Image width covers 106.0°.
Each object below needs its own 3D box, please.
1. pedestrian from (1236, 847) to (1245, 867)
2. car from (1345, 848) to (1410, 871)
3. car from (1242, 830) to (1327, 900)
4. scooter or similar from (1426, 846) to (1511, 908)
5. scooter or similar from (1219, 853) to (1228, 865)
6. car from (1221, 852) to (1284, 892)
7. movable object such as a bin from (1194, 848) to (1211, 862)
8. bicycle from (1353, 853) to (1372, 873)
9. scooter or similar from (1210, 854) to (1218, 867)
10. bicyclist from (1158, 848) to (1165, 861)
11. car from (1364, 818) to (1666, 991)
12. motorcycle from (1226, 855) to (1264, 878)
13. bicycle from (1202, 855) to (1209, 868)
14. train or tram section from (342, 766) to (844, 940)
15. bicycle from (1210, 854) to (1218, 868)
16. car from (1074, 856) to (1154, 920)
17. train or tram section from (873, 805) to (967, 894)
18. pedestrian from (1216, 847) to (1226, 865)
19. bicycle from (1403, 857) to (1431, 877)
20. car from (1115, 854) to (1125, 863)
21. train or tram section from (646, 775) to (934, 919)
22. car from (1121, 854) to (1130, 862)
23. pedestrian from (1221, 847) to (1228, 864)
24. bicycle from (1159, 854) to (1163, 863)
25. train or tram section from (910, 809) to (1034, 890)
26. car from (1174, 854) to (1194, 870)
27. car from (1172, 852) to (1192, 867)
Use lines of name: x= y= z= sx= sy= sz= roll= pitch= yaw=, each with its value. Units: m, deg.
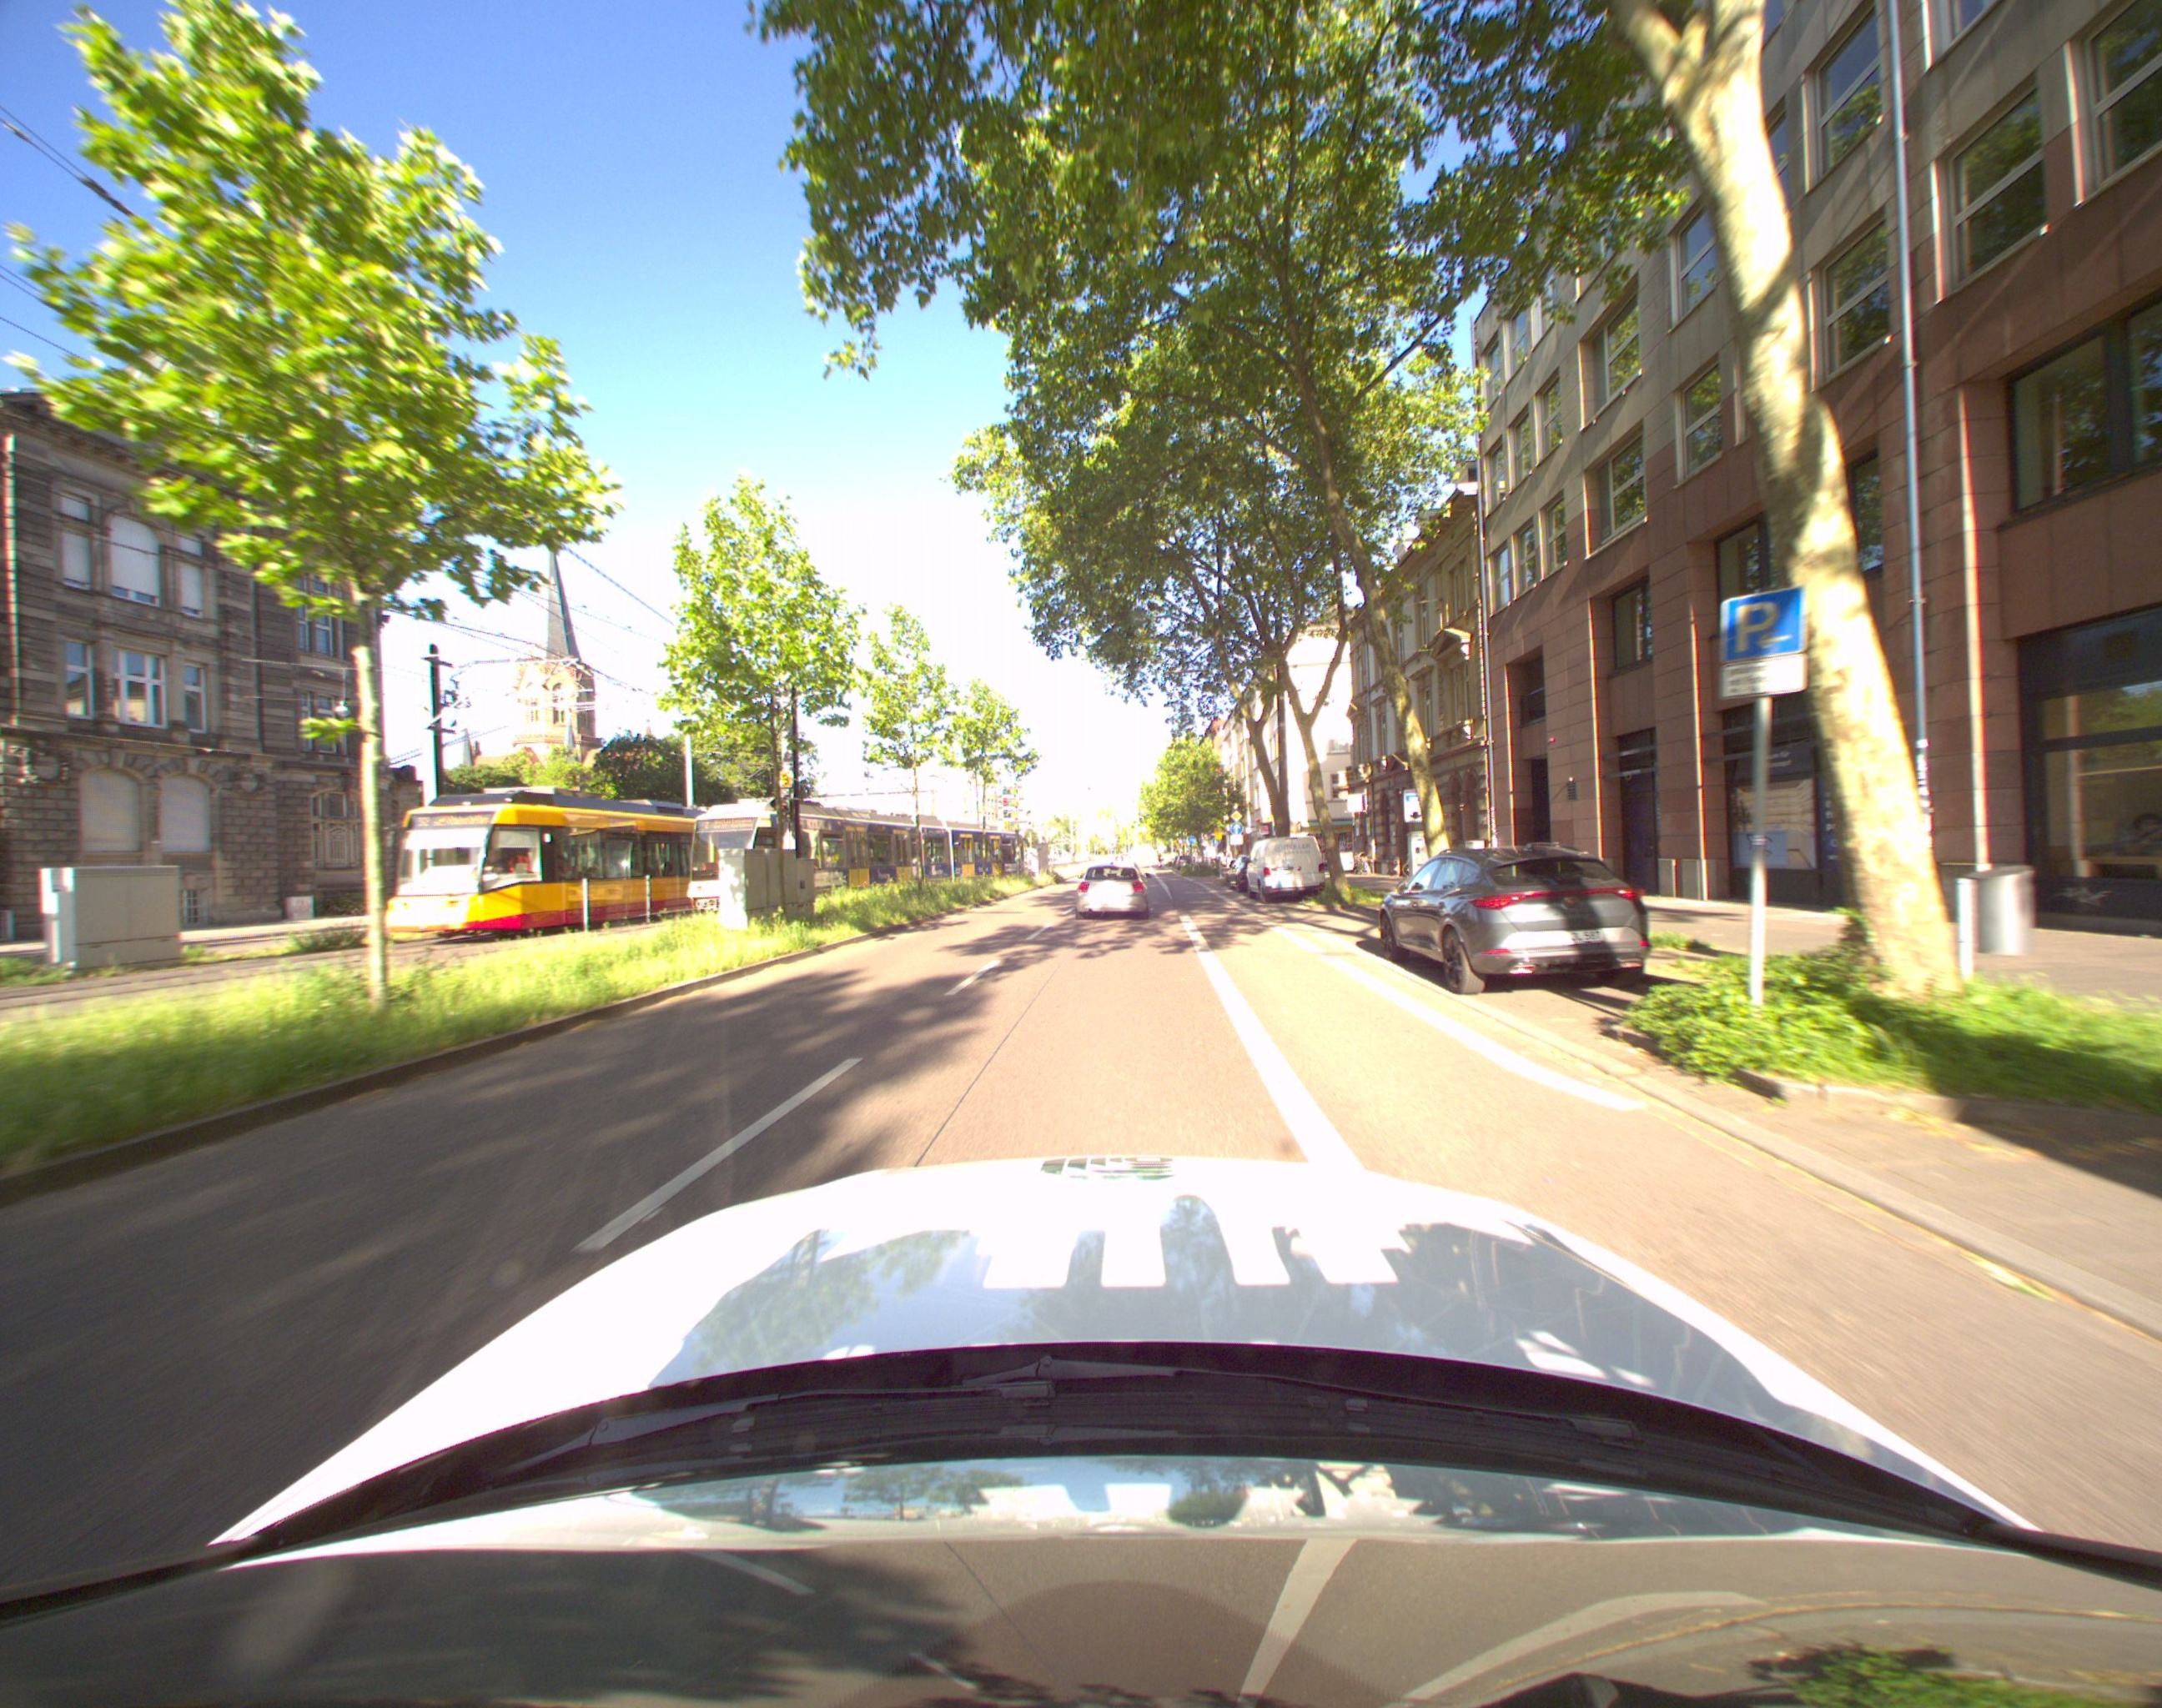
pedestrian: x=13.632 y=0.261 z=69.703 sx=0.679 sy=1.621 sz=0.563 roll=-1 pitch=-1 yaw=1
car: x=20.196 y=0.397 z=55.567 sx=3.917 sy=1.474 sz=1.670 roll=-1 pitch=0 yaw=8
car: x=6.374 y=0.324 z=25.981 sx=1.848 sy=2.014 sz=4.729 roll=0 pitch=0 yaw=4
scooter or similar: x=8.266 y=0.489 z=17.391 sx=1.533 sy=1.237 sz=0.449 roll=-2 pitch=-1 yaw=4
scooter or similar: x=13.703 y=0.472 z=78.497 sx=0.741 sy=1.171 sz=0.849 roll=-1 pitch=0 yaw=1
car: x=6.960 y=0.700 z=33.449 sx=1.811 sy=1.515 sz=4.711 roll=0 pitch=0 yaw=3
movable object such as a bin: x=18.014 y=0.133 z=121.148 sx=1.940 sy=1.843 sz=3.478 roll=-2 pitch=1 yaw=-1
bicycle: x=14.398 y=0.465 z=41.655 sx=0.412 sy=0.997 sz=1.884 roll=-2 pitch=0 yaw=4
scooter or similar: x=12.533 y=0.611 z=76.689 sx=0.376 sy=1.196 sz=1.584 roll=-3 pitch=0 yaw=24
bicyclist: x=9.532 y=0.115 z=96.755 sx=0.781 sy=1.531 sz=0.896 roll=0 pitch=0 yaw=4
car: x=4.835 y=0.493 z=9.837 sx=1.660 sy=1.570 sz=4.287 roll=-3 pitch=0 yaw=6
motorcycle: x=8.776 y=0.668 z=43.662 sx=1.942 sy=1.231 sz=0.516 roll=0 pitch=0 yaw=1
bicycle: x=11.656 y=0.691 z=76.221 sx=0.390 sy=1.215 sz=1.903 roll=-3 pitch=-2 yaw=1
train or tram section: x=-12.982 y=-0.053 z=27.088 sx=2.951 sy=3.483 sz=21.233 roll=-1 pitch=0 yaw=3
bicycle: x=12.560 y=0.655 z=76.852 sx=0.382 sy=1.207 sz=1.883 roll=-2 pitch=0 yaw=20
car: x=0.939 y=0.808 z=21.029 sx=1.789 sy=1.415 sz=4.006 roll=-2 pitch=0 yaw=5
train or tram section: x=-7.393 y=-0.201 z=37.772 sx=2.935 sy=3.897 sz=3.879 roll=0 pitch=0 yaw=12
pedestrian: x=13.682 y=0.206 z=79.559 sx=0.855 sy=1.705 sz=0.917 roll=-2 pitch=0 yaw=2
bicycle: x=14.094 y=0.532 z=34.212 sx=0.546 sy=0.773 sz=1.664 roll=-4 pitch=0 yaw=4
car: x=6.757 y=0.764 z=140.928 sx=1.720 sy=1.470 sz=4.412 roll=-2 pitch=0 yaw=2
train or tram section: x=-9.129 y=-0.159 z=28.898 sx=2.911 sy=3.812 sz=14.312 roll=0 pitch=0 yaw=10
car: x=8.173 y=0.753 z=148.890 sx=1.637 sy=1.421 sz=4.005 roll=-1 pitch=0 yaw=4
pedestrian: x=15.360 y=0.173 z=87.057 sx=0.555 sy=1.711 sz=0.771 roll=-2 pitch=0 yaw=4
bicycle: x=9.502 y=0.553 z=96.697 sx=0.497 sy=1.088 sz=1.999 roll=0 pitch=0 yaw=4
train or tram section: x=-5.617 y=-0.187 z=44.902 sx=2.931 sy=3.897 sz=10.844 roll=0 pitch=0 yaw=14
car: x=10.678 y=0.834 z=84.596 sx=1.687 sy=1.502 sz=3.806 roll=-4 pitch=0 yaw=4
car: x=11.420 y=0.615 z=92.266 sx=2.029 sy=1.509 sz=4.599 roll=-2 pitch=0 yaw=4
